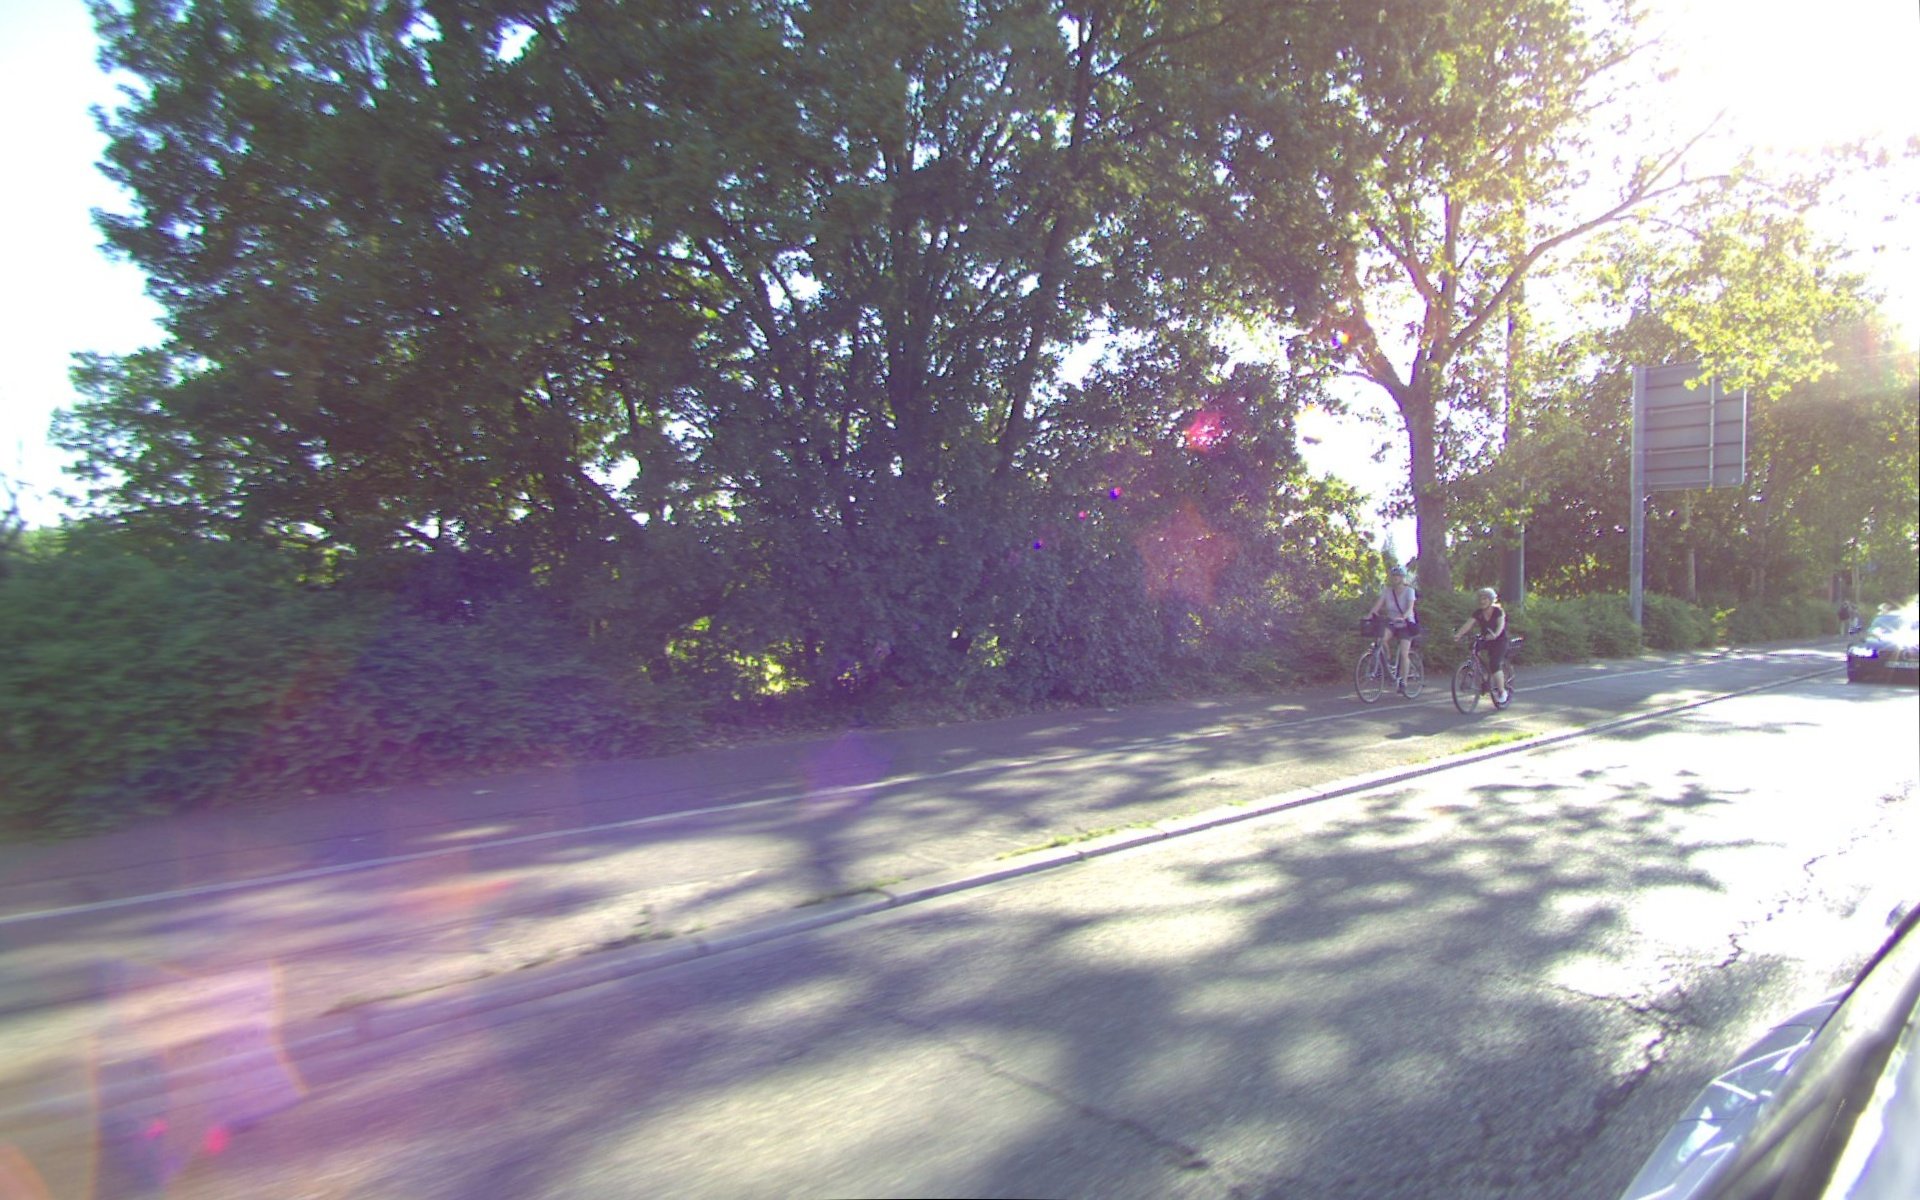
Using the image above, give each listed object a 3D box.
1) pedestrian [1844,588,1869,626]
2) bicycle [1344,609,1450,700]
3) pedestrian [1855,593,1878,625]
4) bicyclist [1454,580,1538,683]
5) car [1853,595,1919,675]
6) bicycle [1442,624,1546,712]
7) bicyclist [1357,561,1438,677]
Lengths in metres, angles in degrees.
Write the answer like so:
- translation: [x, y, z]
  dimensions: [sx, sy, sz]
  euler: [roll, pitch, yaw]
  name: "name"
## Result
- translation: [41.967, 0.303, 47.382]
  dimensions: [0.799, 1.729, 0.723]
  euler: [0, 1, -42]
  name: "pedestrian"
- translation: [6.022, 0.709, 13.899]
  dimensions: [1.782, 1.134, 0.623]
  euler: [0, 1, -42]
  name: "bicycle"
- translation: [43.514, 0.424, 48.567]
  dimensions: [0.709, 1.498, 0.724]
  euler: [0, 2, -42]
  name: "pedestrian"
- translation: [6.832, 0.385, 12.900]
  dimensions: [0.875, 1.241, 0.642]
  euler: [0, 2, -41]
  name: "bicyclist"
- translation: [19.925, 0.654, 20.705]
  dimensions: [4.505, 1.486, 1.869]
  euler: [-1, 0, -40]
  name: "car"
- translation: [6.844, 0.836, 12.930]
  dimensions: [1.757, 0.986, 0.566]
  euler: [0, 3, -42]
  name: "bicycle"
- translation: [5.992, 0.246, 13.854]
  dimensions: [0.875, 1.527, 0.687]
  euler: [0, 1, -41]
  name: "bicyclist"
